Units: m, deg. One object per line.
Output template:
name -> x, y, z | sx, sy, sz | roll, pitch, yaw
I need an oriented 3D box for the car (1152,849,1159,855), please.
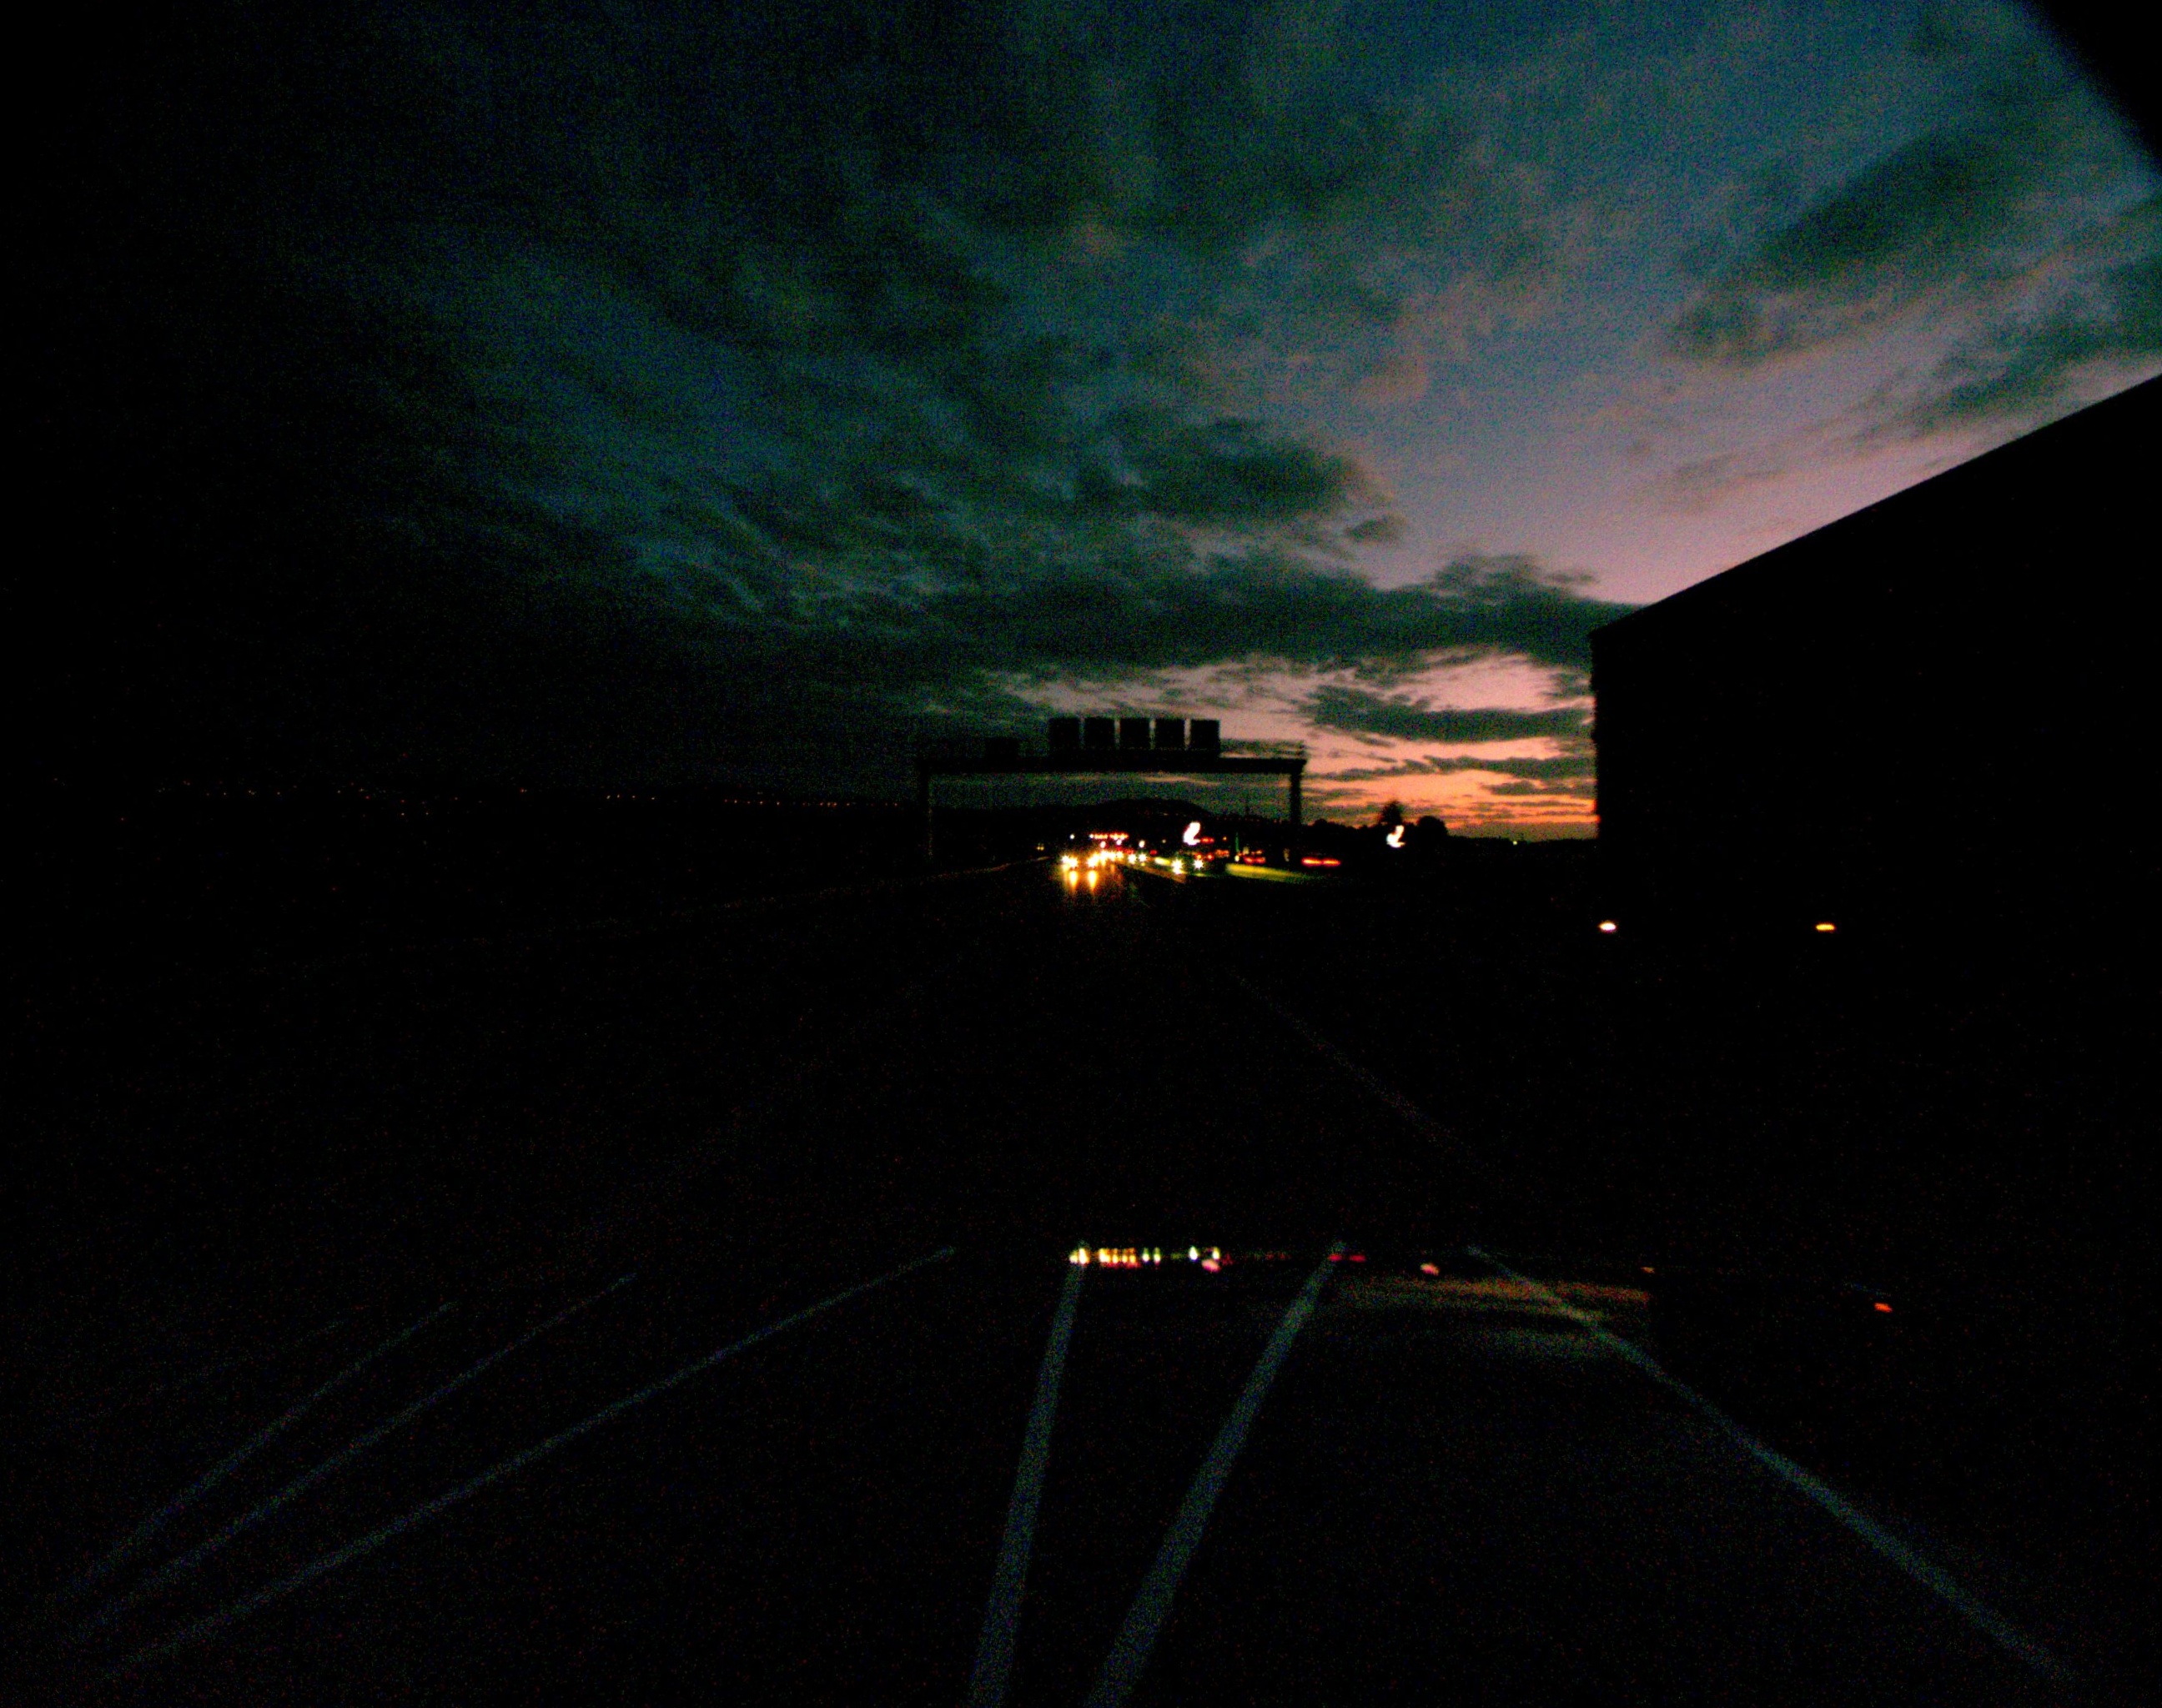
car -> 25.169, -0.689, 257.155 | 1.998, 2.002, 4.000 | -2, 1, 1

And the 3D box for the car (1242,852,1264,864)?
car -> 20.323, 0.412, 89.885 | 1.736, 1.281, 4.000 | -2, 1, 1

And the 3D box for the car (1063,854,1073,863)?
car -> -2.037, 0.743, 119.379 | 1.513, 1.247, 4.000 | -2, 1, 1

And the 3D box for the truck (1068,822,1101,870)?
truck -> 0.347, -0.714, 79.180 | 3.012, 4.570, 12.578 | -2, 0, 0

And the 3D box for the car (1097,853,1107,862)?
car -> 4.155, 0.692, 149.592 | 1.802, 1.531, 4.159 | -2, 1, 0

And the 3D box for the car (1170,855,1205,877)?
car -> 7.915, 0.869, 57.040 | 1.819, 1.429, 5.394 | -2, 1, 0

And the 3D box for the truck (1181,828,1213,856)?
truck -> 24.937, -2.574, 164.235 | 5.332, 5.757, 9.643 | -2, 1, 1

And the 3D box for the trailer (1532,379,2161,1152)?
trailer -> 7.063, -0.456, 2.402 | 2.801, 4.061, 14.524 | -1, 1, 1

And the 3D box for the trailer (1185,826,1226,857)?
trailer -> 24.822, -2.470, 153.187 | 5.317, 5.752, 19.211 | -2, 1, 1

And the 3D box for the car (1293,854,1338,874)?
car -> 15.839, 0.674, 51.575 | 1.867, 1.197, 4.000 | -2, 1, 1

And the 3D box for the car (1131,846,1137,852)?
car -> 18.322, -1.726, 263.402 | 1.998, 2.002, 4.000 | -2, 1, 1

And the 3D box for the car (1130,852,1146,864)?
car -> 8.116, 0.559, 108.745 | 1.819, 1.638, 4.856 | -2, 1, 0
